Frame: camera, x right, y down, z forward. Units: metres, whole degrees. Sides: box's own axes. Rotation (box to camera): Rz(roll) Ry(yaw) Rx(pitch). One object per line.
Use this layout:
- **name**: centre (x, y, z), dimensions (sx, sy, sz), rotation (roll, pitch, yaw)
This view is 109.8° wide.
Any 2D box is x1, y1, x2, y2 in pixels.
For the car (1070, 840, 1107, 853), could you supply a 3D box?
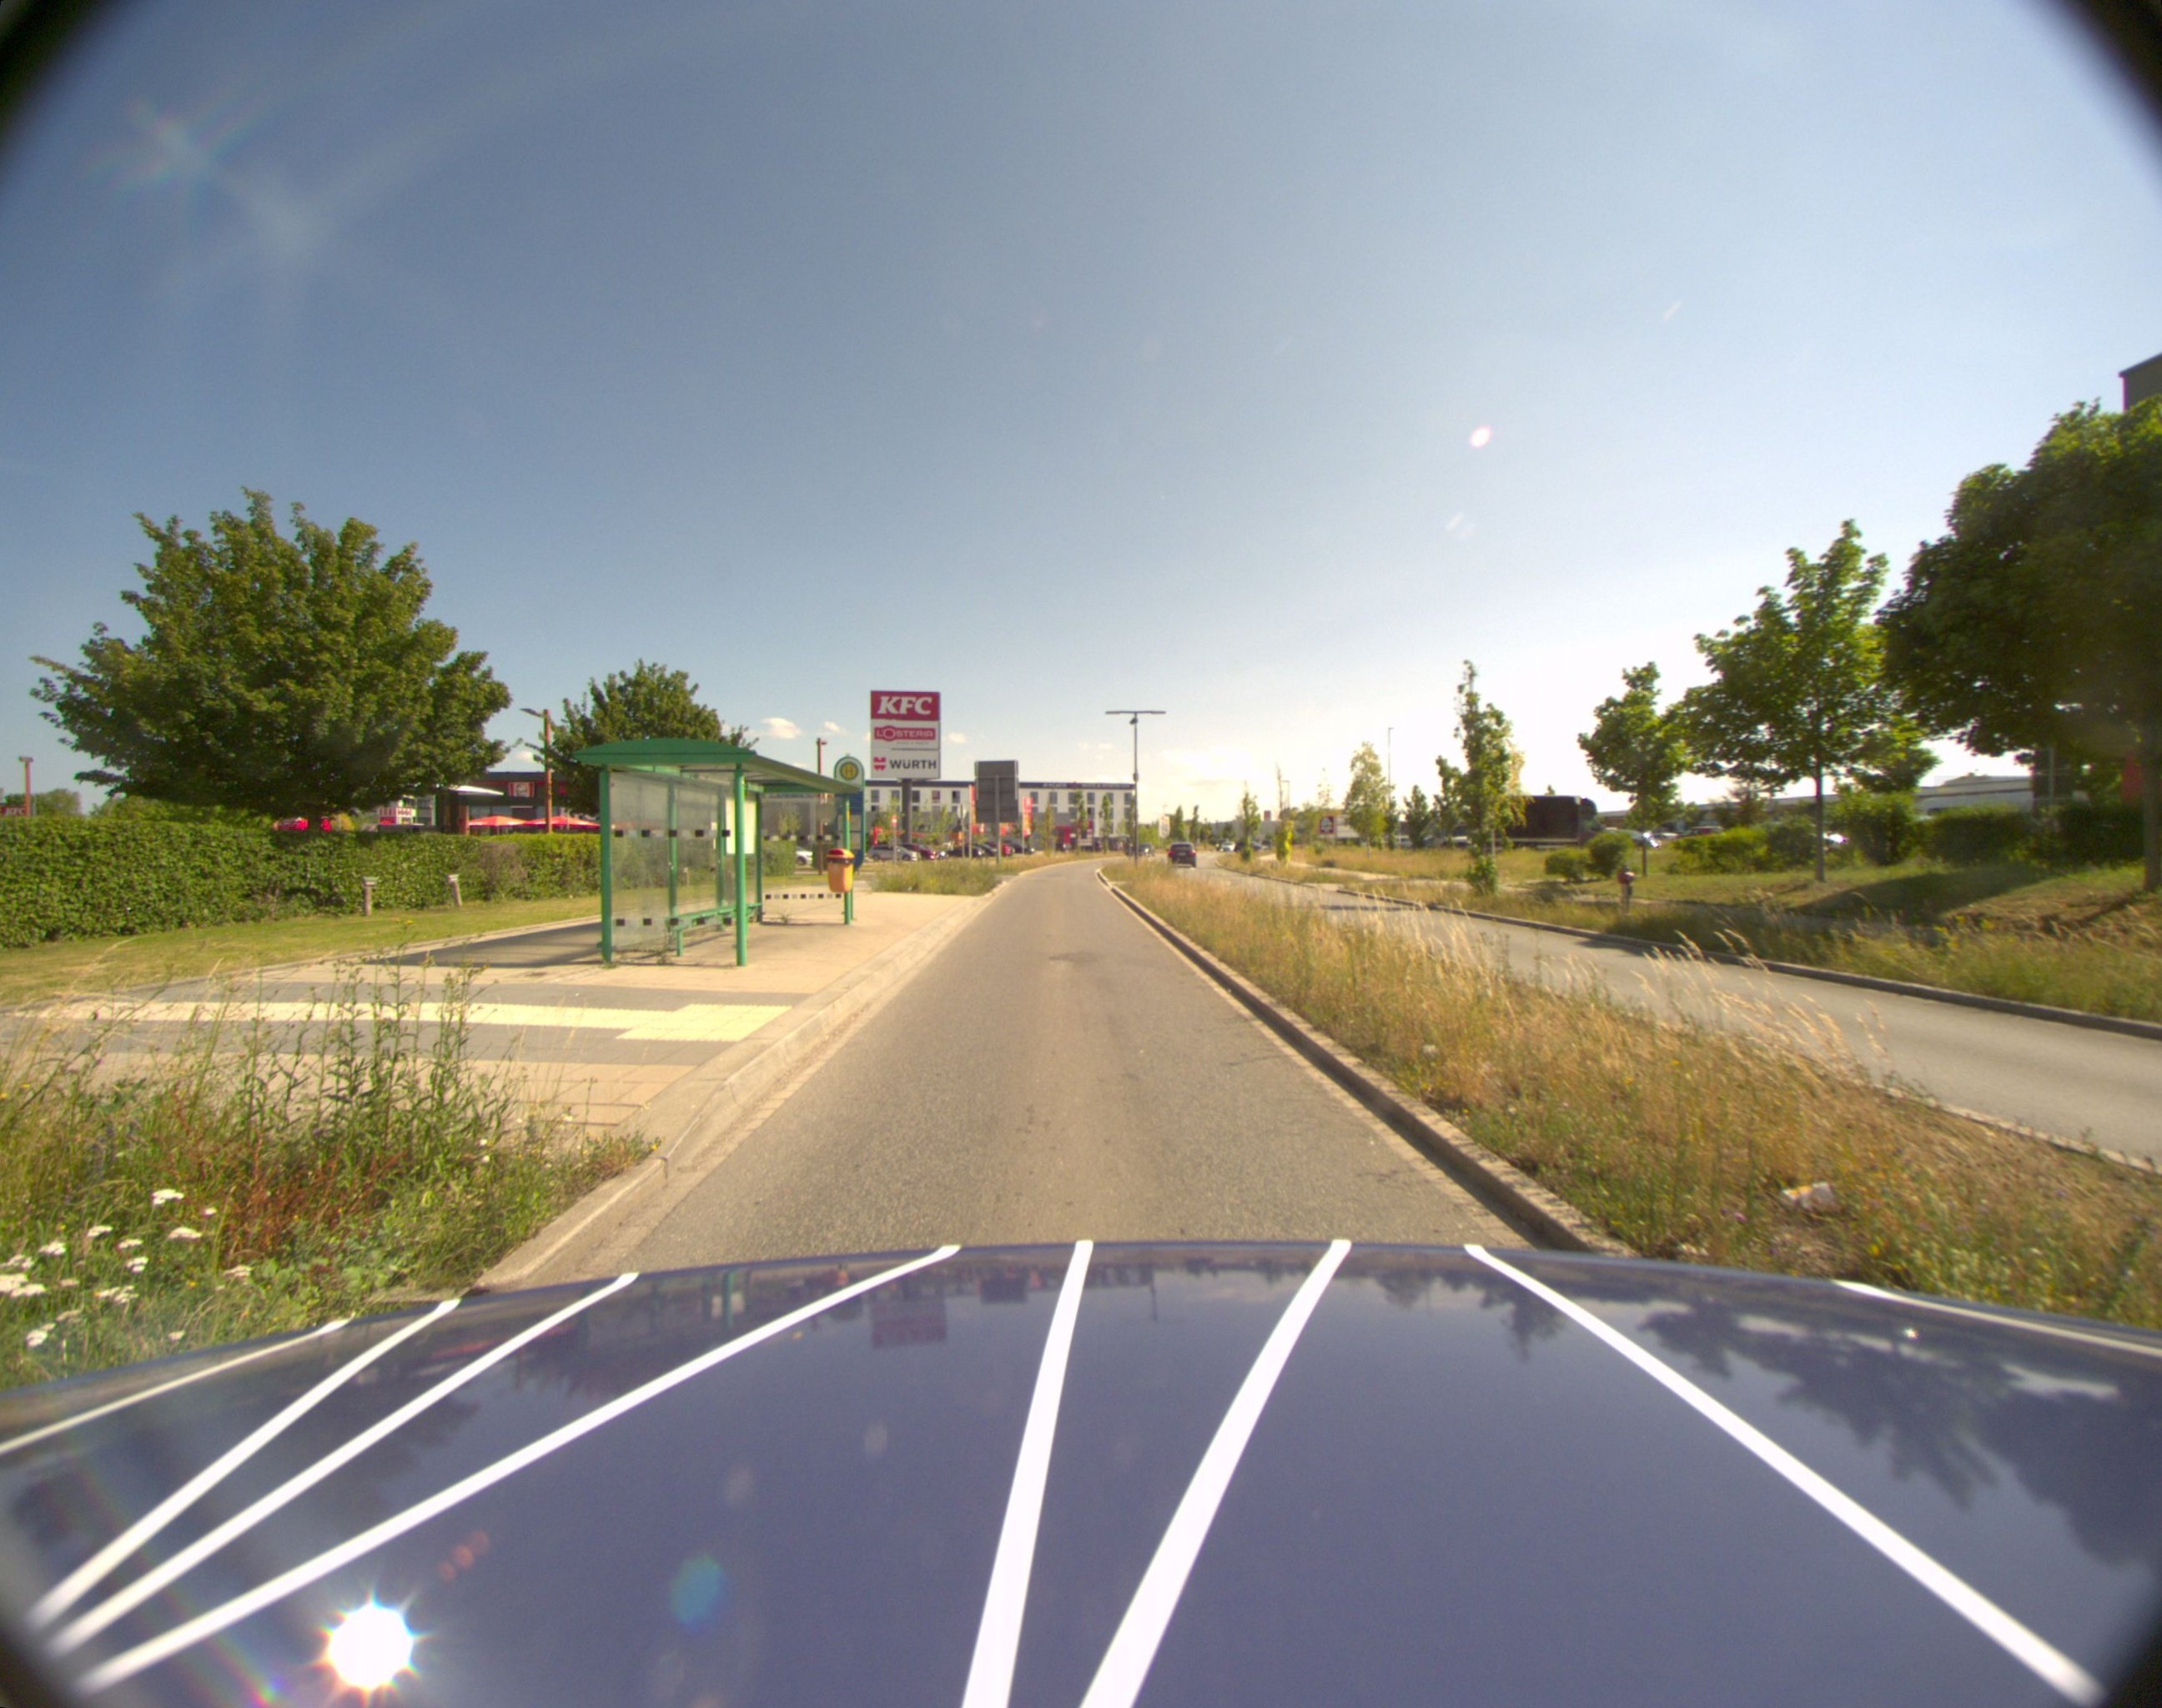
- **car**: centre (1.008, -0.981, 100.621), dimensions (4.456, 1.669, 1.905), rotation (-1, -1, 19)

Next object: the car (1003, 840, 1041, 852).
- **car**: centre (-7.463, -1.001, 95.958), dimensions (4.411, 1.557, 1.997), rotation (1, 1, 15)

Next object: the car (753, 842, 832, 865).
- **car**: centre (-19.106, -0.044, 50.346), dimensions (4.534, 1.482, 1.869), rotation (0, 1, 6)

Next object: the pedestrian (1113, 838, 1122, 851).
- **pedestrian**: centre (4.620, -1.245, 95.946), dimensions (0.810, 1.619, 0.867), rotation (-1, 1, 20)

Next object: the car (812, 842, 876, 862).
- **car**: centre (-18.014, -0.133, 57.800), dimensions (4.212, 1.482, 1.869), rotation (0, 1, 6)

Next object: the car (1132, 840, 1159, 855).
- **car**: centre (6.841, -0.715, 79.761), dimensions (1.783, 1.485, 4.005), rotation (0, 1, 21)

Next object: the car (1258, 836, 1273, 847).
- **car**: centre (30.018, -2.015, 123.455), dimensions (1.953, 1.784, 4.432), rotation (1, 1, 17)

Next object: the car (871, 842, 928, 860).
- **car**: centre (-16.087, -0.287, 67.494), dimensions (4.562, 1.482, 1.870), rotation (1, 1, 10)

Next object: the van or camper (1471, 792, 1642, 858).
- **van or camper**: centre (26.044, -1.574, 41.908), dimensions (7.708, 3.449, 2.556), rotation (0, 1, 5)

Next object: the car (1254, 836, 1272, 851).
- **car**: centre (22.316, -1.282, 93.174), dimensions (1.755, 1.678, 4.383), rotation (0, 1, 8)

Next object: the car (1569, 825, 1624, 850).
- **car**: centre (44.807, -1.413, 66.182), dimensions (1.836, 2.053, 4.381), rotation (-1, 1, 1)

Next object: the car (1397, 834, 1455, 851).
- **car**: centre (31.153, -1.025, 68.699), dimensions (4.582, 1.450, 1.840), rotation (0, 1, 15)

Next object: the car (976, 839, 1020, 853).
- **car**: centre (-10.135, -0.971, 92.598), dimensions (4.988, 1.725, 1.941), rotation (1, 1, 15)

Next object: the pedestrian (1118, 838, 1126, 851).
- **pedestrian**: centre (5.113, -1.237, 95.044), dimensions (0.802, 1.620, 0.806), rotation (-1, 1, 20)

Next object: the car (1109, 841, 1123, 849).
- **car**: centre (6.034, -1.562, 131.243), dimensions (1.515, 1.399, 4.004), rotation (0, 1, 14)

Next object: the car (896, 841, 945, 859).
- **car**: centre (-15.239, -0.425, 72.081), dimensions (4.159, 1.656, 1.870), rotation (1, 1, 14)

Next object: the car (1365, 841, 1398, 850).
- **car**: centre (54.694, -1.602, 138.410), dimensions (5.190, 1.663, 2.001), rotation (0, 1, 7)

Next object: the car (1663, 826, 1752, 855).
- **car**: centre (39.267, -0.860, 47.783), dimensions (1.837, 1.763, 4.380), rotation (-1, 1, -2)

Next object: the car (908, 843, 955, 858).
- **car**: centre (-14.694, -0.347, 74.573), dimensions (4.161, 1.441, 1.792), rotation (1, 1, 8)

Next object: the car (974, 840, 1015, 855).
- **car**: centre (-10.105, -0.793, 89.263), dimensions (4.411, 1.725, 1.793), rotation (1, 1, 17)

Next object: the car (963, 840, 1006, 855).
- **car**: centre (-10.937, -0.730, 86.252), dimensions (4.411, 1.725, 1.793), rotation (1, 1, 17)

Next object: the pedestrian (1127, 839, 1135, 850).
- **pedestrian**: centre (6.264, -1.188, 95.587), dimensions (0.793, 1.461, 0.950), rotation (-1, 1, 20)

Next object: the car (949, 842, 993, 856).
- **car**: centre (-11.902, -0.503, 82.127), dimensions (4.411, 1.441, 1.793), rotation (1, 1, 16)

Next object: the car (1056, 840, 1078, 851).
- **car**: centre (-1.974, -1.229, 108.169), dimensions (1.782, 1.531, 4.175), rotation (0, 1, 21)

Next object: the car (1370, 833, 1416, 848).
- **car**: centre (35.180, -1.503, 85.691), dimensions (4.766, 1.633, 2.119), rotation (-1, -1, 24)

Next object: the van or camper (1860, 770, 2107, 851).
- **van or camper**: centre (40.215, -1.834, 34.357), dimensions (2.436, 3.252, 7.233), rotation (-1, 1, -1)

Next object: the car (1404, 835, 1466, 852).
- **car**: centre (29.569, -0.884, 63.665), dimensions (4.429, 1.375, 1.977), rotation (0, 1, 15)

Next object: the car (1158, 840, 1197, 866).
- **car**: centre (6.133, -0.096, 48.525), dimensions (1.763, 1.534, 4.239), rotation (2, 1, -2)

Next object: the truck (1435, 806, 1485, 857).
- **truck**: centre (27.488, -1.584, 54.937), dimensions (2.317, 3.445, 7.508), rotation (0, 1, 33)
